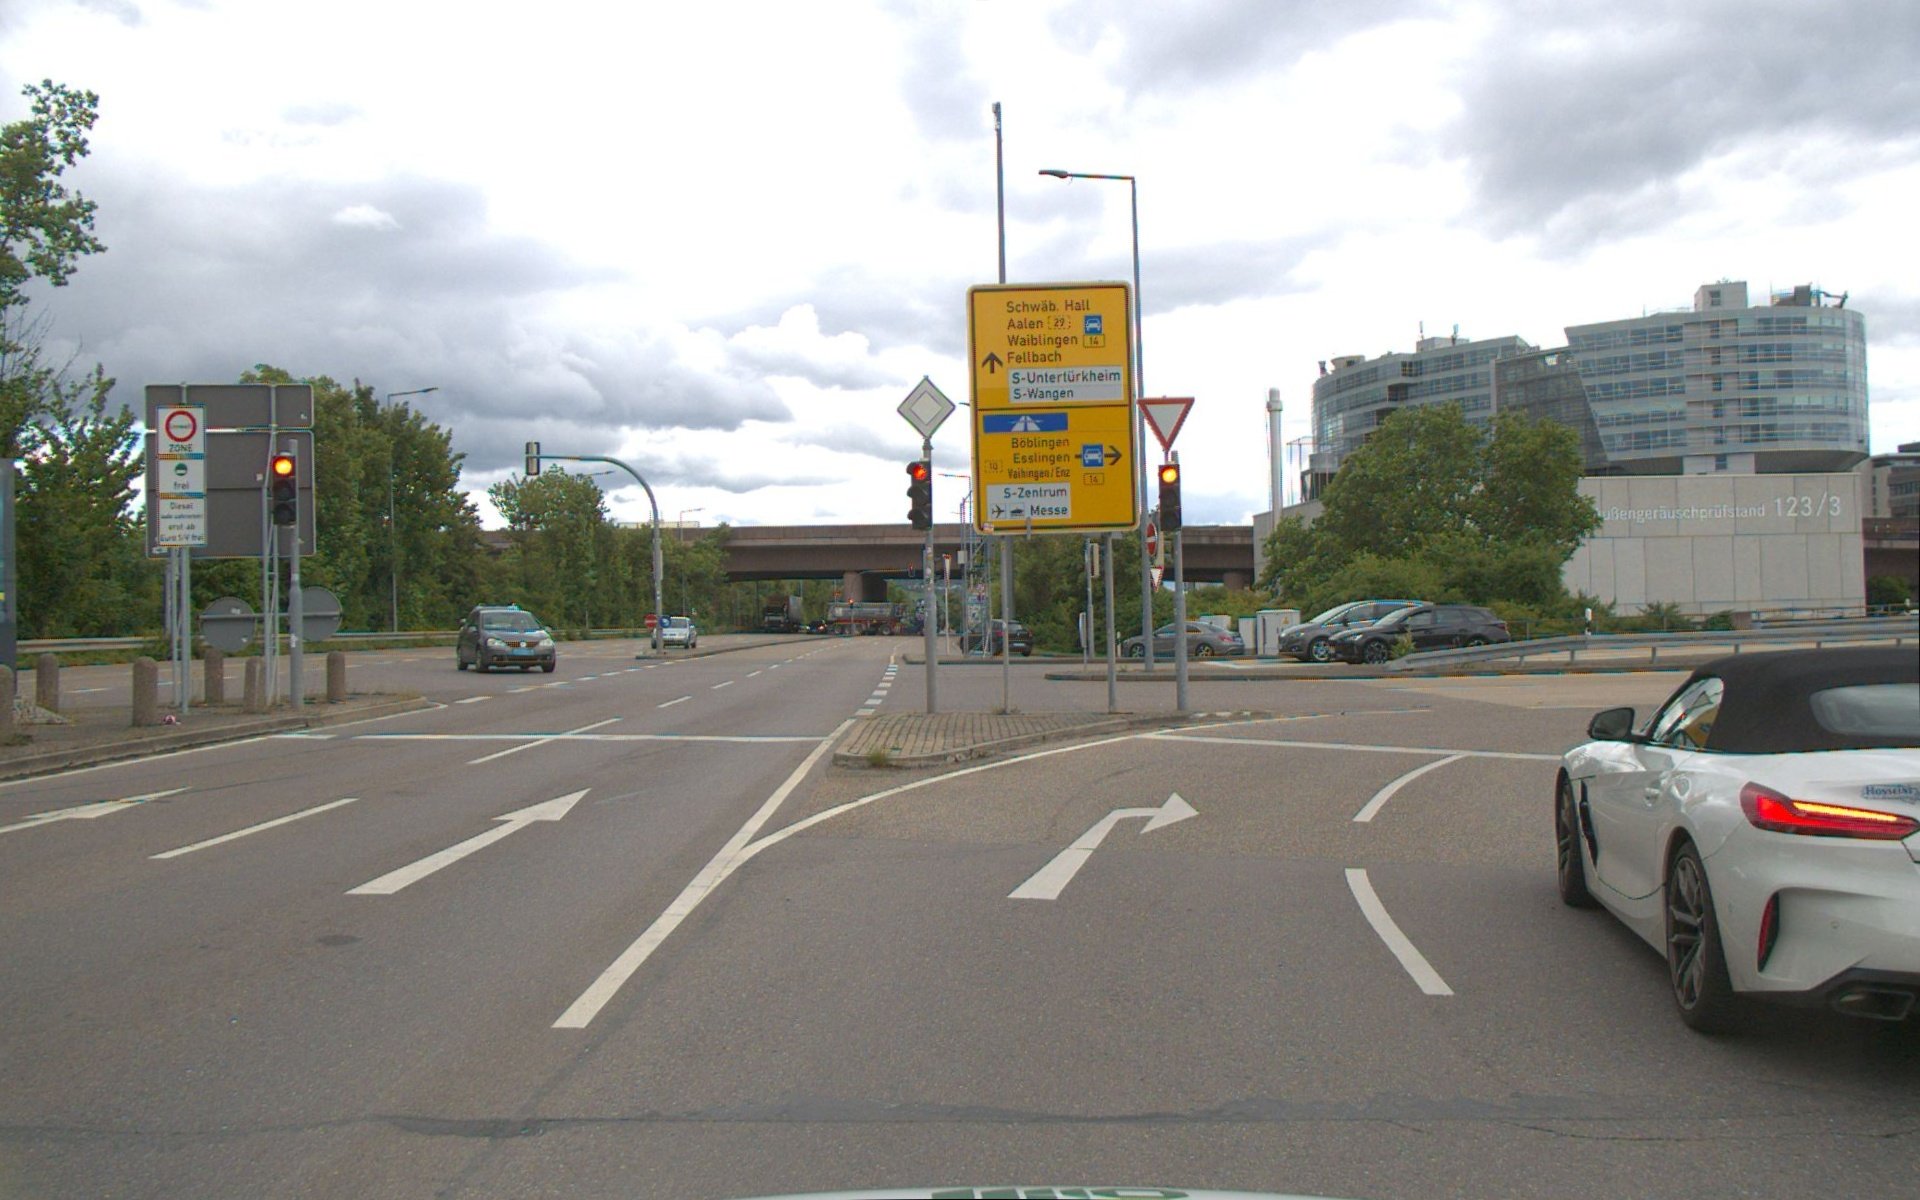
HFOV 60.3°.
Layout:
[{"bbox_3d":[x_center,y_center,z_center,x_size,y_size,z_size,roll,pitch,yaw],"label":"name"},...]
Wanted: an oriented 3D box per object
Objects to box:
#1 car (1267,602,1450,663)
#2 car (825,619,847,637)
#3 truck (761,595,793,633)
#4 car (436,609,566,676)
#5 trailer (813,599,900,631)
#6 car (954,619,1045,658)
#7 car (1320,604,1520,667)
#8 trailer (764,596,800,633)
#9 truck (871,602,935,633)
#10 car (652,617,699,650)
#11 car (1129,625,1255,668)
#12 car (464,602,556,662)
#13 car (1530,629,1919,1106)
[{"bbox_3d":[11.059,0.886,46.079,4.586,1.599,1.954,0,0,-4],"label":"car"},{"bbox_3d":[-13.956,3.151,186.284,1.952,1.892,4.002,2,0,3],"label":"car"},{"bbox_3d":[-20.818,1.591,188.365,2.813,4.156,6.487,1,0,0],"label":"truck"},{"bbox_3d":[-10.983,1.045,39.448,1.709,1.487,4.192,3,-3,-34],"label":"car"},{"bbox_3d":[-10.147,1.473,162.060,8.384,2.669,2.604,3,-1,30],"label":"trailer"},{"bbox_3d":[1.584,1.611,67.662,1.971,1.490,4.070,2,-3,-29],"label":"car"},{"bbox_3d":[11.658,0.876,42.074,4.517,1.483,1.953,0,0,-7],"label":"car"},{"bbox_3d":[-20.819,1.617,193.884,2.813,4.156,11.426,1,0,0],"label":"trailer"},{"bbox_3d":[-5.535,1.737,160.412,5.639,2.669,2.623,3,-1,9],"label":"truck"},{"bbox_3d":[-13.176,1.518,76.659,1.690,1.425,4.063,-1,0,-4],"label":"car"},{"bbox_3d":[8.275,1.671,59.029,4.022,1.467,1.995,-1,-3,32],"label":"car"},{"bbox_3d":[-13.911,0.960,51.367,1.689,1.767,4.554,-1,0,-1],"label":"car"},{"bbox_3d":[3.649,0.818,6.815,1.766,1.314,4.267,0,0,9],"label":"car"}]
